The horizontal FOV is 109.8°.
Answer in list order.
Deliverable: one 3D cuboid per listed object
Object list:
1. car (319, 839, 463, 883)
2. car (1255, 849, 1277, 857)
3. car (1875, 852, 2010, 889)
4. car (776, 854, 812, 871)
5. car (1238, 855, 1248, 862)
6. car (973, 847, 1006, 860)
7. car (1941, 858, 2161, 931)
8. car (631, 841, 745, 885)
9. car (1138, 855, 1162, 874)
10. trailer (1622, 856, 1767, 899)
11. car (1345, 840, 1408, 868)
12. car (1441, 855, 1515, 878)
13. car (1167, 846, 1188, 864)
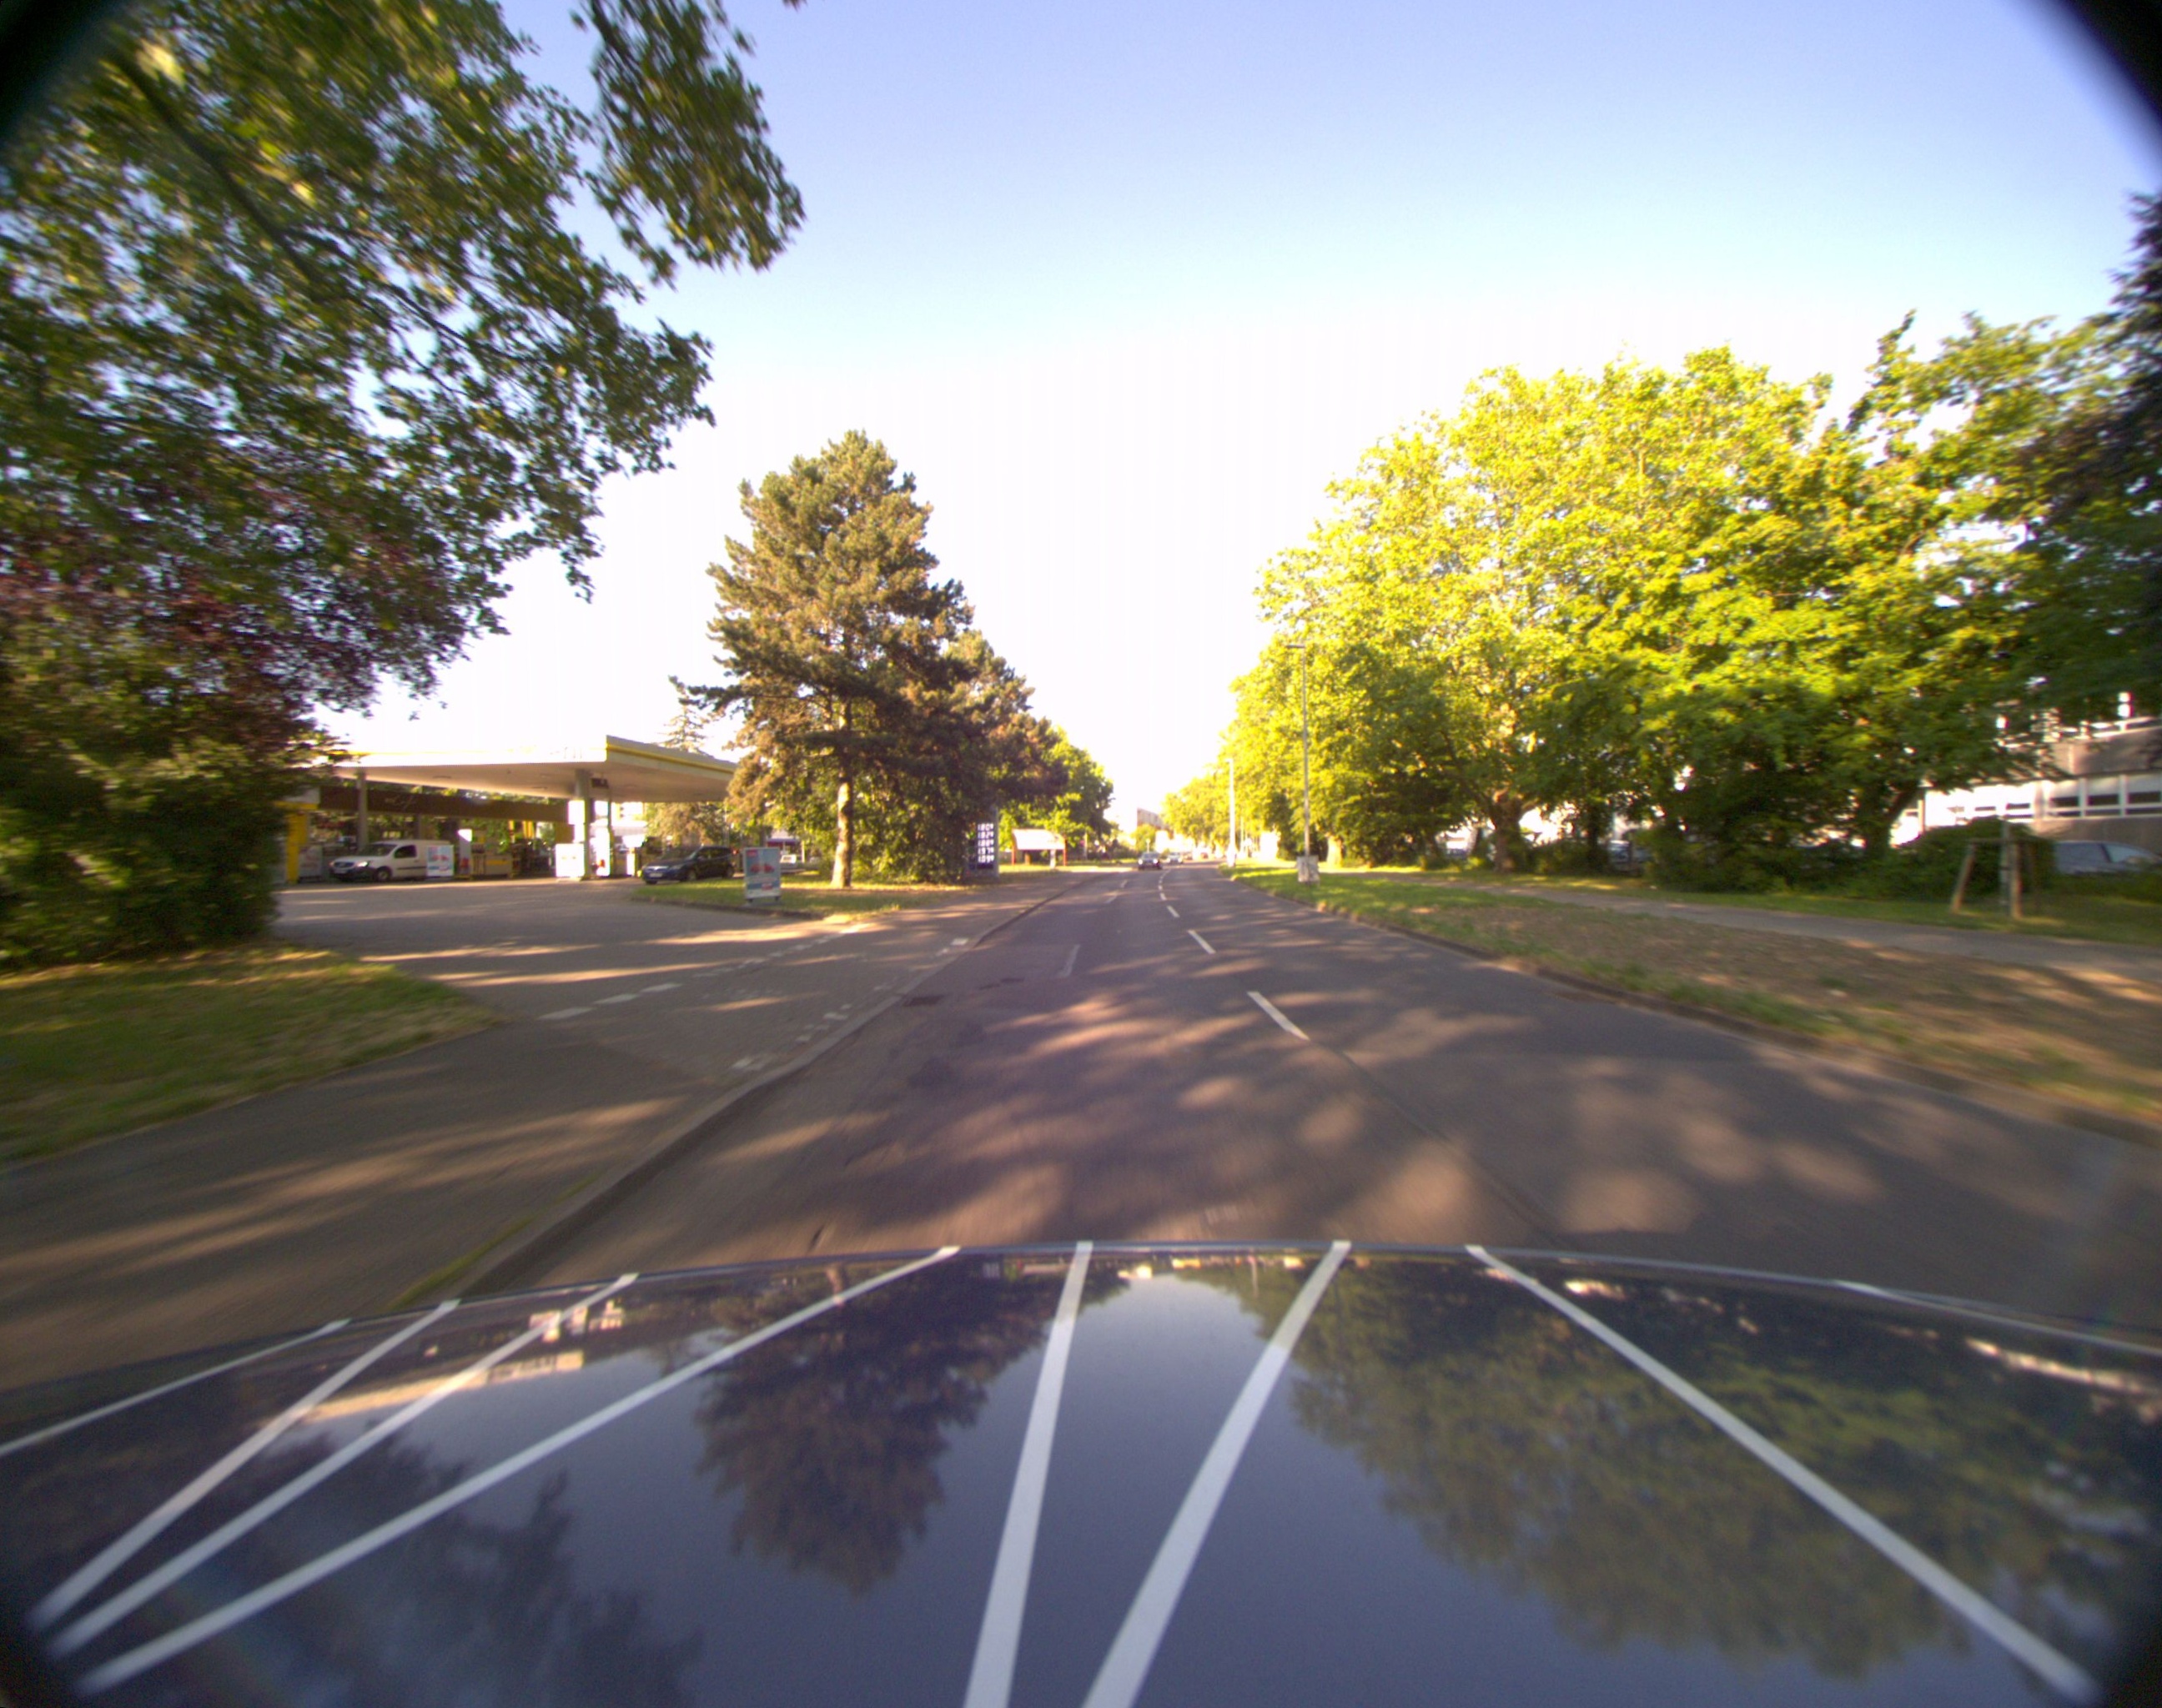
[{"bbox_3d":[-29.045,0.262,32.211,1.816,1.718,4.401,1,0,7],"label":"car"},{"bbox_3d":[36.108,-0.196,148.222,3.993,1.409,1.917,-2,-3,13],"label":"car"},{"bbox_3d":[39.704,0.723,35.097,3.997,1.592,1.930,1,0,1],"label":"car"},{"bbox_3d":[-36.144,1.035,95.753,4.635,1.963,1.896,-2,-1,35],"label":"car"},{"bbox_3d":[33.850,0.924,158.582,1.763,1.474,4.114,-1,-1,16],"label":"car"},{"bbox_3d":[-12.616,-0.051,104.525,4.433,1.584,2.004,-1,-1,42],"label":"car"},{"bbox_3d":[23.462,0.917,17.972,3.997,1.592,1.929,0,1,1],"label":"car"},{"bbox_3d":[-15.557,0.352,30.389,1.928,1.637,4.477,1,0,5],"label":"car"},{"bbox_3d":[5.642,0.855,62.033,1.869,1.471,4.088,1,0,5],"label":"car"},{"bbox_3d":[23.971,0.899,29.832,3.995,1.546,2.001,1,0,4],"label":"trailer"},{"bbox_3d":[29.430,0.005,75.780,5.439,2.487,2.188,2,0,10],"label":"car"},{"bbox_3d":[25.184,0.781,48.304,3.739,1.455,1.767,0,0,3],"label":"car"},{"bbox_3d":[11.379,0.094,89.293,1.932,2.002,4.004,1,1,15],"label":"car"}]
